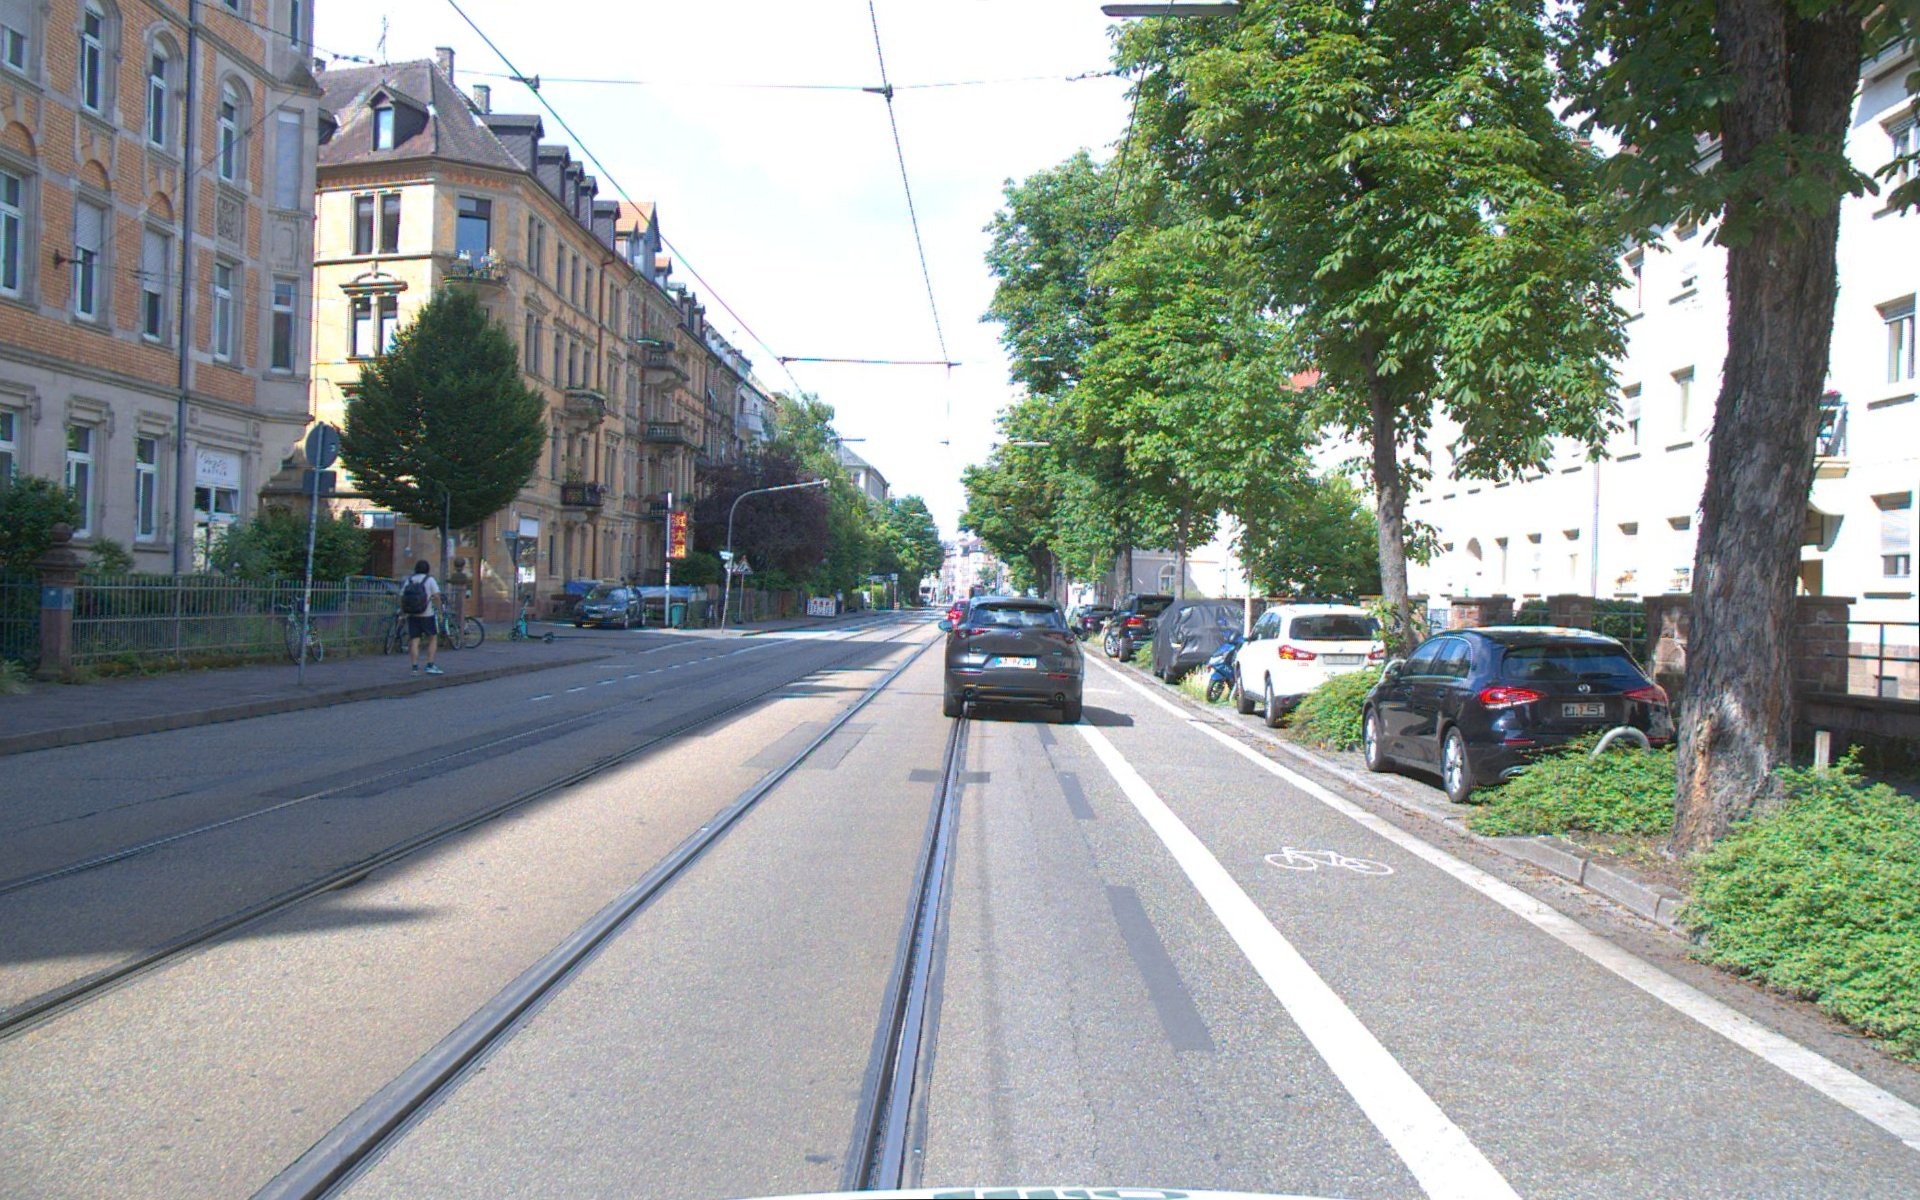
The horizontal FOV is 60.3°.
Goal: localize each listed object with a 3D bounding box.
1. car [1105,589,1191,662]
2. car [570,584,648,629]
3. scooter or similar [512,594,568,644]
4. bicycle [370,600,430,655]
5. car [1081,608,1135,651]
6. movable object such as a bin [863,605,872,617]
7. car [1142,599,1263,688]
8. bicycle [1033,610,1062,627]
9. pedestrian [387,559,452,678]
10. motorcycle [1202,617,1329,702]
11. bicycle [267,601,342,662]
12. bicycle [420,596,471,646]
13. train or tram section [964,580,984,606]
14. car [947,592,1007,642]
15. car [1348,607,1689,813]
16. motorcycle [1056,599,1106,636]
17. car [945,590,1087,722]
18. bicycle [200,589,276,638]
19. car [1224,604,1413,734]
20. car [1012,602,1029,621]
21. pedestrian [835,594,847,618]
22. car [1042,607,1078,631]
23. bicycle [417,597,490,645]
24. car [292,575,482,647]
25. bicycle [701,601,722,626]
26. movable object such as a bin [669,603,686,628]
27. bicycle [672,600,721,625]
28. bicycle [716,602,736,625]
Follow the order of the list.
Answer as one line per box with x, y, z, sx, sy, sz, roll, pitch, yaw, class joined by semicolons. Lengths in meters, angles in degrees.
4.960;0.632;44.232;1.789;1.813;4.733;1;0;1;car
-12.422;0.221;58.830;1.651;1.485;4.765;1;0;1;car
-11.184;0.511;44.046;1.345;1.256;0.400;3;-1;-28;scooter or similar
-10.509;0.500;31.091;0.412;0.993;1.949;2;0;0;bicycle
5.699;1.114;63.897;1.671;1.504;4.197;4;0;1;car
-8.406;1.002;150.093;0.730;1.005;1.114;4;0;1;movable object such as a bin
4.985;0.853;34.577;1.824;1.682;4.637;2;0;0;car
6.094;1.300;115.167;1.895;1.196;0.513;0;-1;12;bicycle
-8.393;0.282;25.711;0.522;1.791;1.106;4;0;0;pedestrian
5.140;0.991;27.907;1.966;1.360;0.747;2;0;-3;motorcycle
-10.594;0.496;26.791;0.412;0.949;1.949;2;0;0;bicycle
-10.564;0.421;34.001;0.412;0.993;1.949;2;0;0;bicycle
2.079;-1.052;252.676;2.520;3.838;13.022;2;0;-1;train or tram section
0.584;0.599;58.148;1.953;1.555;4.000;4;0;0;car
4.881;0.872;15.109;1.626;1.547;4.287;2;0;0;car
5.811;0.831;79.557;2.343;1.625;0.675;4;1;40;motorcycle
0.692;0.682;21.831;1.685;1.553;3.589;1;0;0;car
-15.347;0.286;35.150;1.423;0.994;0.404;1;0;0;bicycle
4.936;0.893;23.318;1.706;1.608;4.248;2;0;0;car
6.538;1.211;178.377;1.685;2.003;4.208;1;0;1;car
-8.431;0.430;117.339;0.806;1.736;0.891;1;-1;-2;pedestrian
6.181;1.153;102.217;1.809;1.434;4.393;0;0;-2;car
-10.802;0.441;35.281;1.423;0.994;0.404;1;0;0;bicycle
-12.710;0.241;36.818;3.527;1.427;1.788;2;0;5;car
-9.819;0.522;65.386;0.519;0.963;1.968;1;0;1;bicycle
-10.461;0.559;61.267;0.514;0.921;0.636;1;0;-1;movable object such as a bin
-10.808;0.510;67.773;1.923;0.963;0.531;1;0;-4;bicycle
-9.813;0.563;69.307;0.519;0.963;1.968;1;0;1;bicycle
